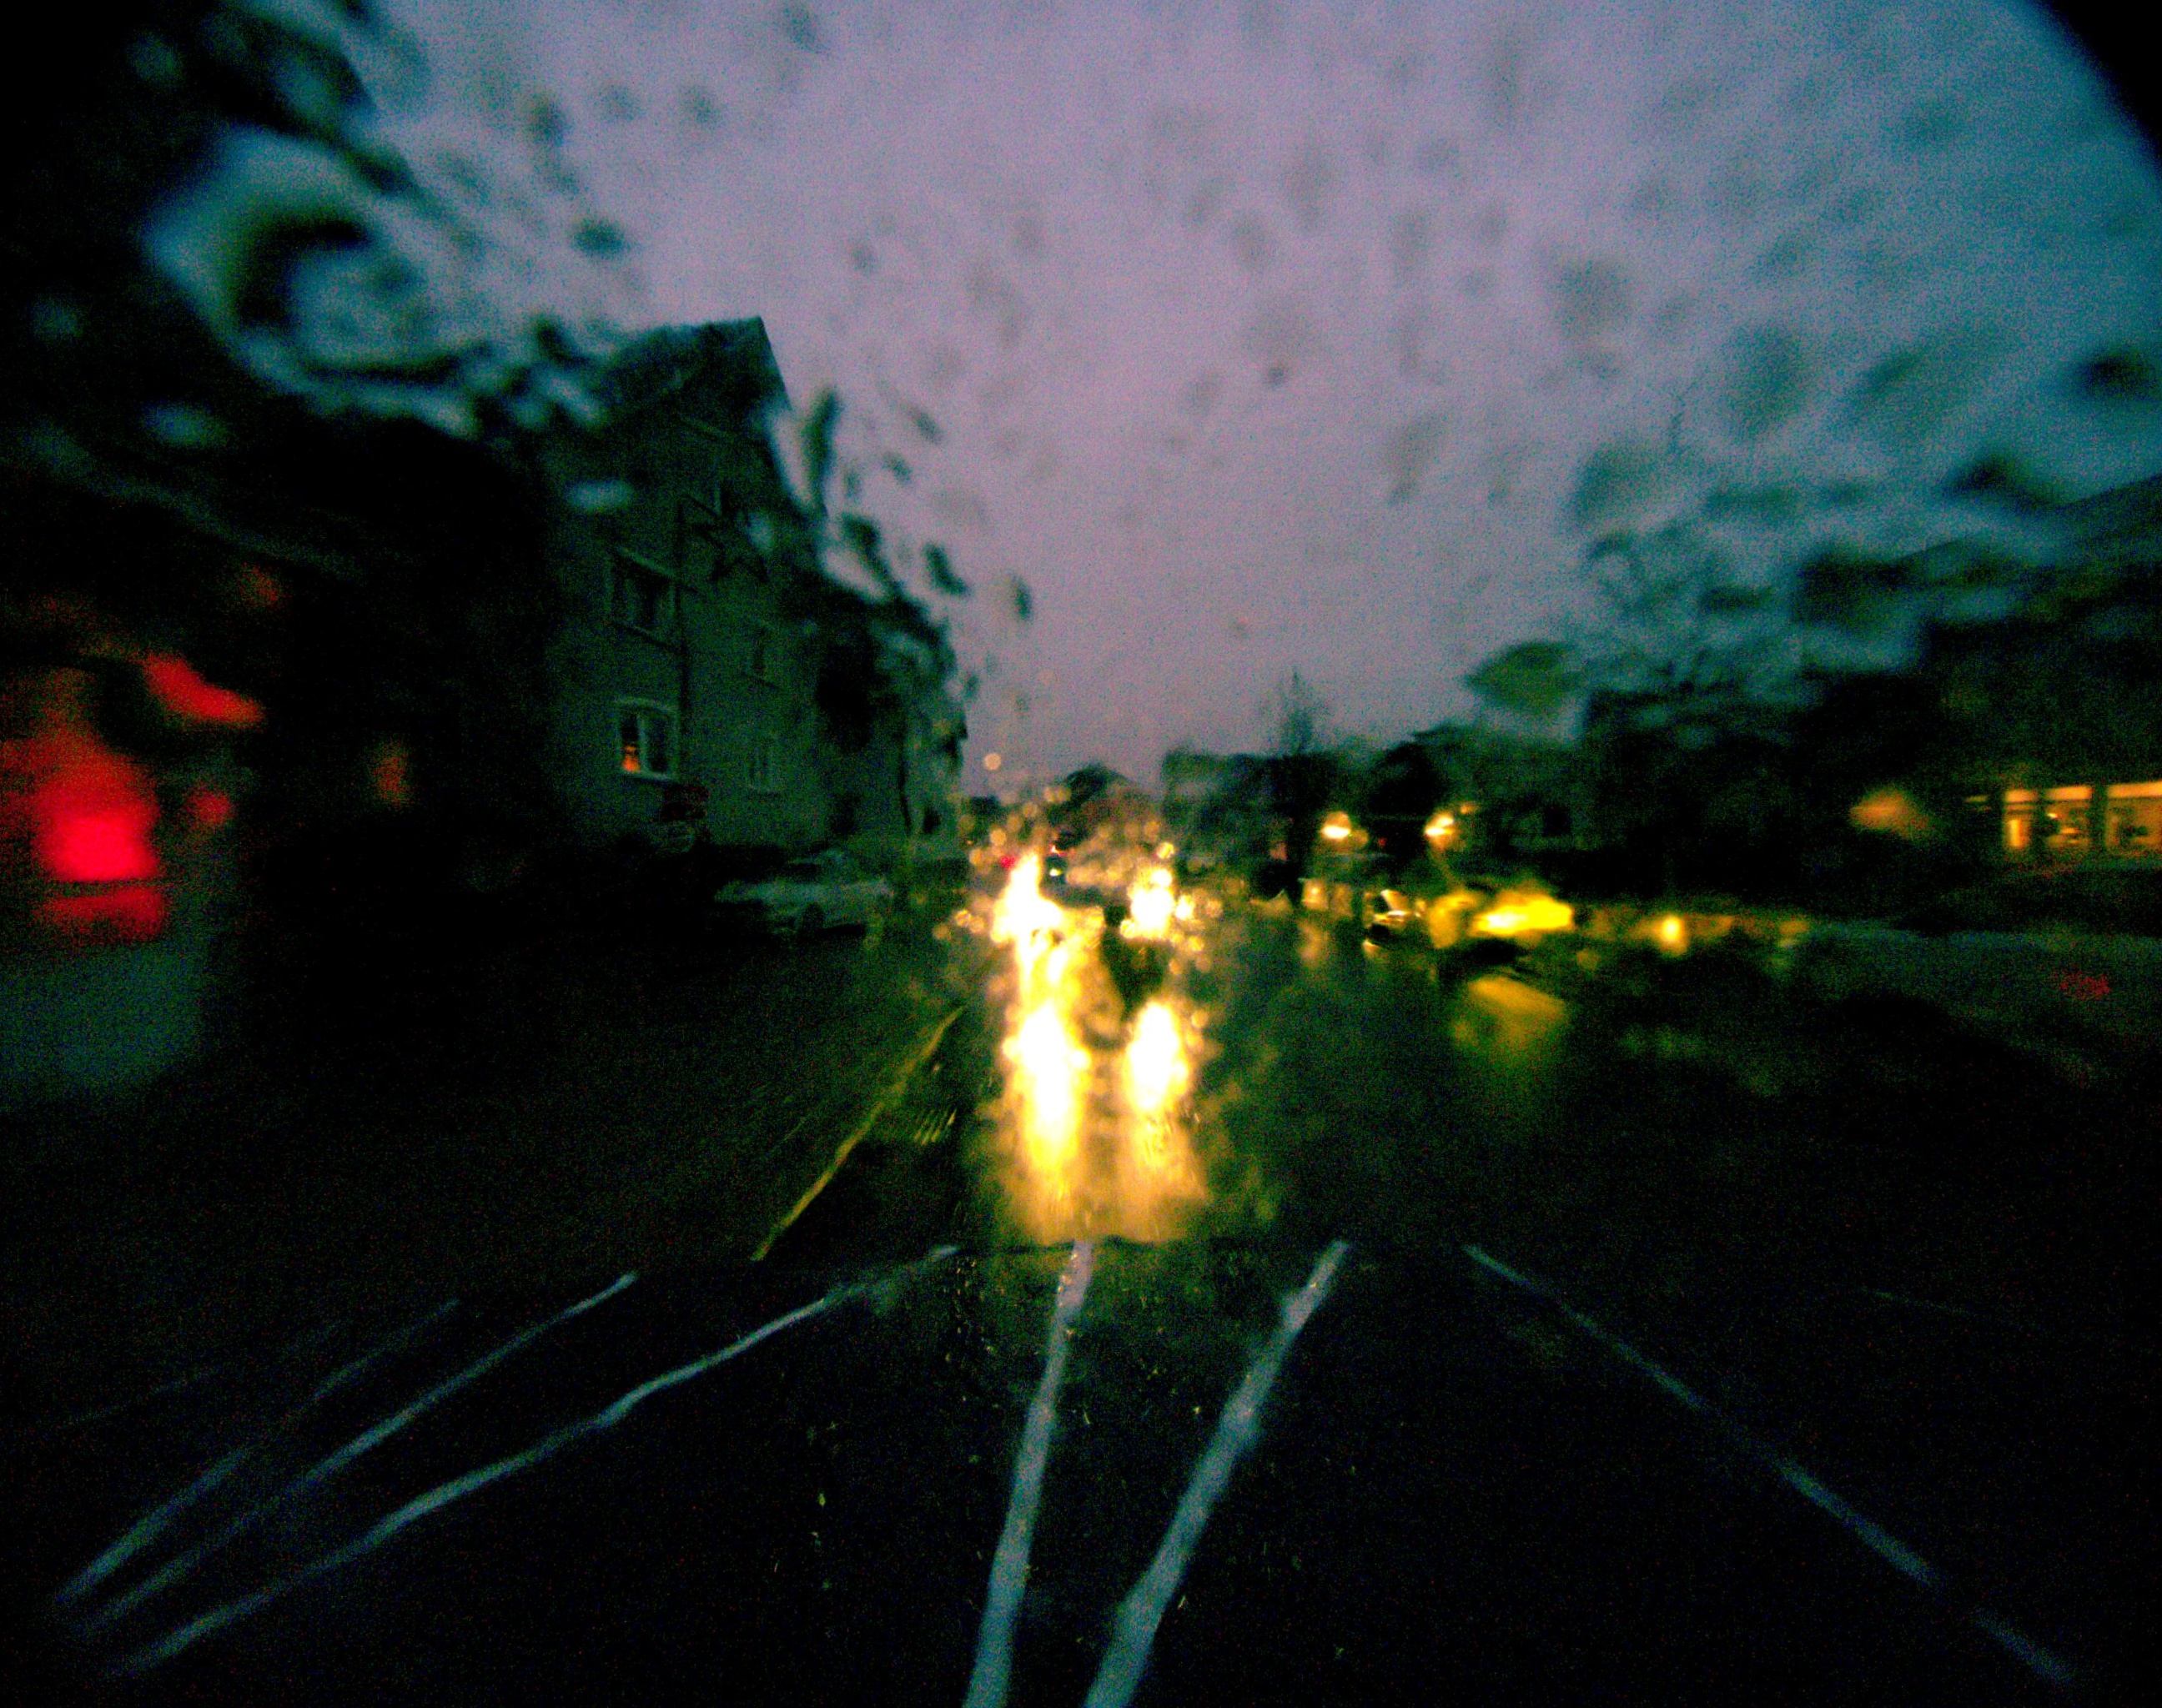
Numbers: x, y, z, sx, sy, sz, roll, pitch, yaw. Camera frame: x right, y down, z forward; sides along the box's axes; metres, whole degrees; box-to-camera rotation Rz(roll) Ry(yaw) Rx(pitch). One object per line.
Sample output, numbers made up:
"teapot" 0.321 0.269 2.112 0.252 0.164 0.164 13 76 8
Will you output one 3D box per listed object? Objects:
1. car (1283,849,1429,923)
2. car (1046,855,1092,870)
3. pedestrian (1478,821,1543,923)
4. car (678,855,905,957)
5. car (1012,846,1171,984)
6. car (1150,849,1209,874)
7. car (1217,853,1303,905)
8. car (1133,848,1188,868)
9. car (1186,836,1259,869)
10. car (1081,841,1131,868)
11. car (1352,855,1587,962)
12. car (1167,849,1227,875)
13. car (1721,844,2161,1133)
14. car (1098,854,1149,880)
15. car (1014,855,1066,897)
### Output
"car" 6.428 0.676 18.218 1.880 1.526 3.670 -2 1 -5
"car" -1.187 0.794 75.134 4.005 1.291 1.996 -3 1 -27
"pedestrian" 8.761 0.366 15.526 0.902 2.002 0.791 -1 0 10
"car" -5.211 0.850 14.546 1.933 1.477 4.698 -2 1 8
"car" 0.124 0.780 11.893 1.999 1.720 3.999 -2 0 0
"car" 6.948 0.503 53.359 3.994 1.538 2.001 -2 1 10
"car" 5.958 0.786 25.783 1.840 1.526 4.138 -2 0 0
"car" 5.877 0.294 56.310 3.995 1.291 2.001 -2 1 5
"car" 8.085 -0.087 43.335 3.993 1.753 1.435 -1 1 14
"car" 2.034 0.015 62.998 3.997 2.002 2.000 -2 1 0
"car" 6.222 0.771 12.830 1.698 1.423 4.377 -2 0 0
"car" 7.723 0.509 50.699 3.839 1.537 2.001 -2 1 7
"car" 6.660 0.712 4.734 1.789 1.480 4.182 -2 1 0
"car" 2.568 0.756 46.740 1.984 1.438 3.909 -3 0 -14
"car" -2.190 1.078 39.745 2.001 2.002 3.995 -3 1 -13
